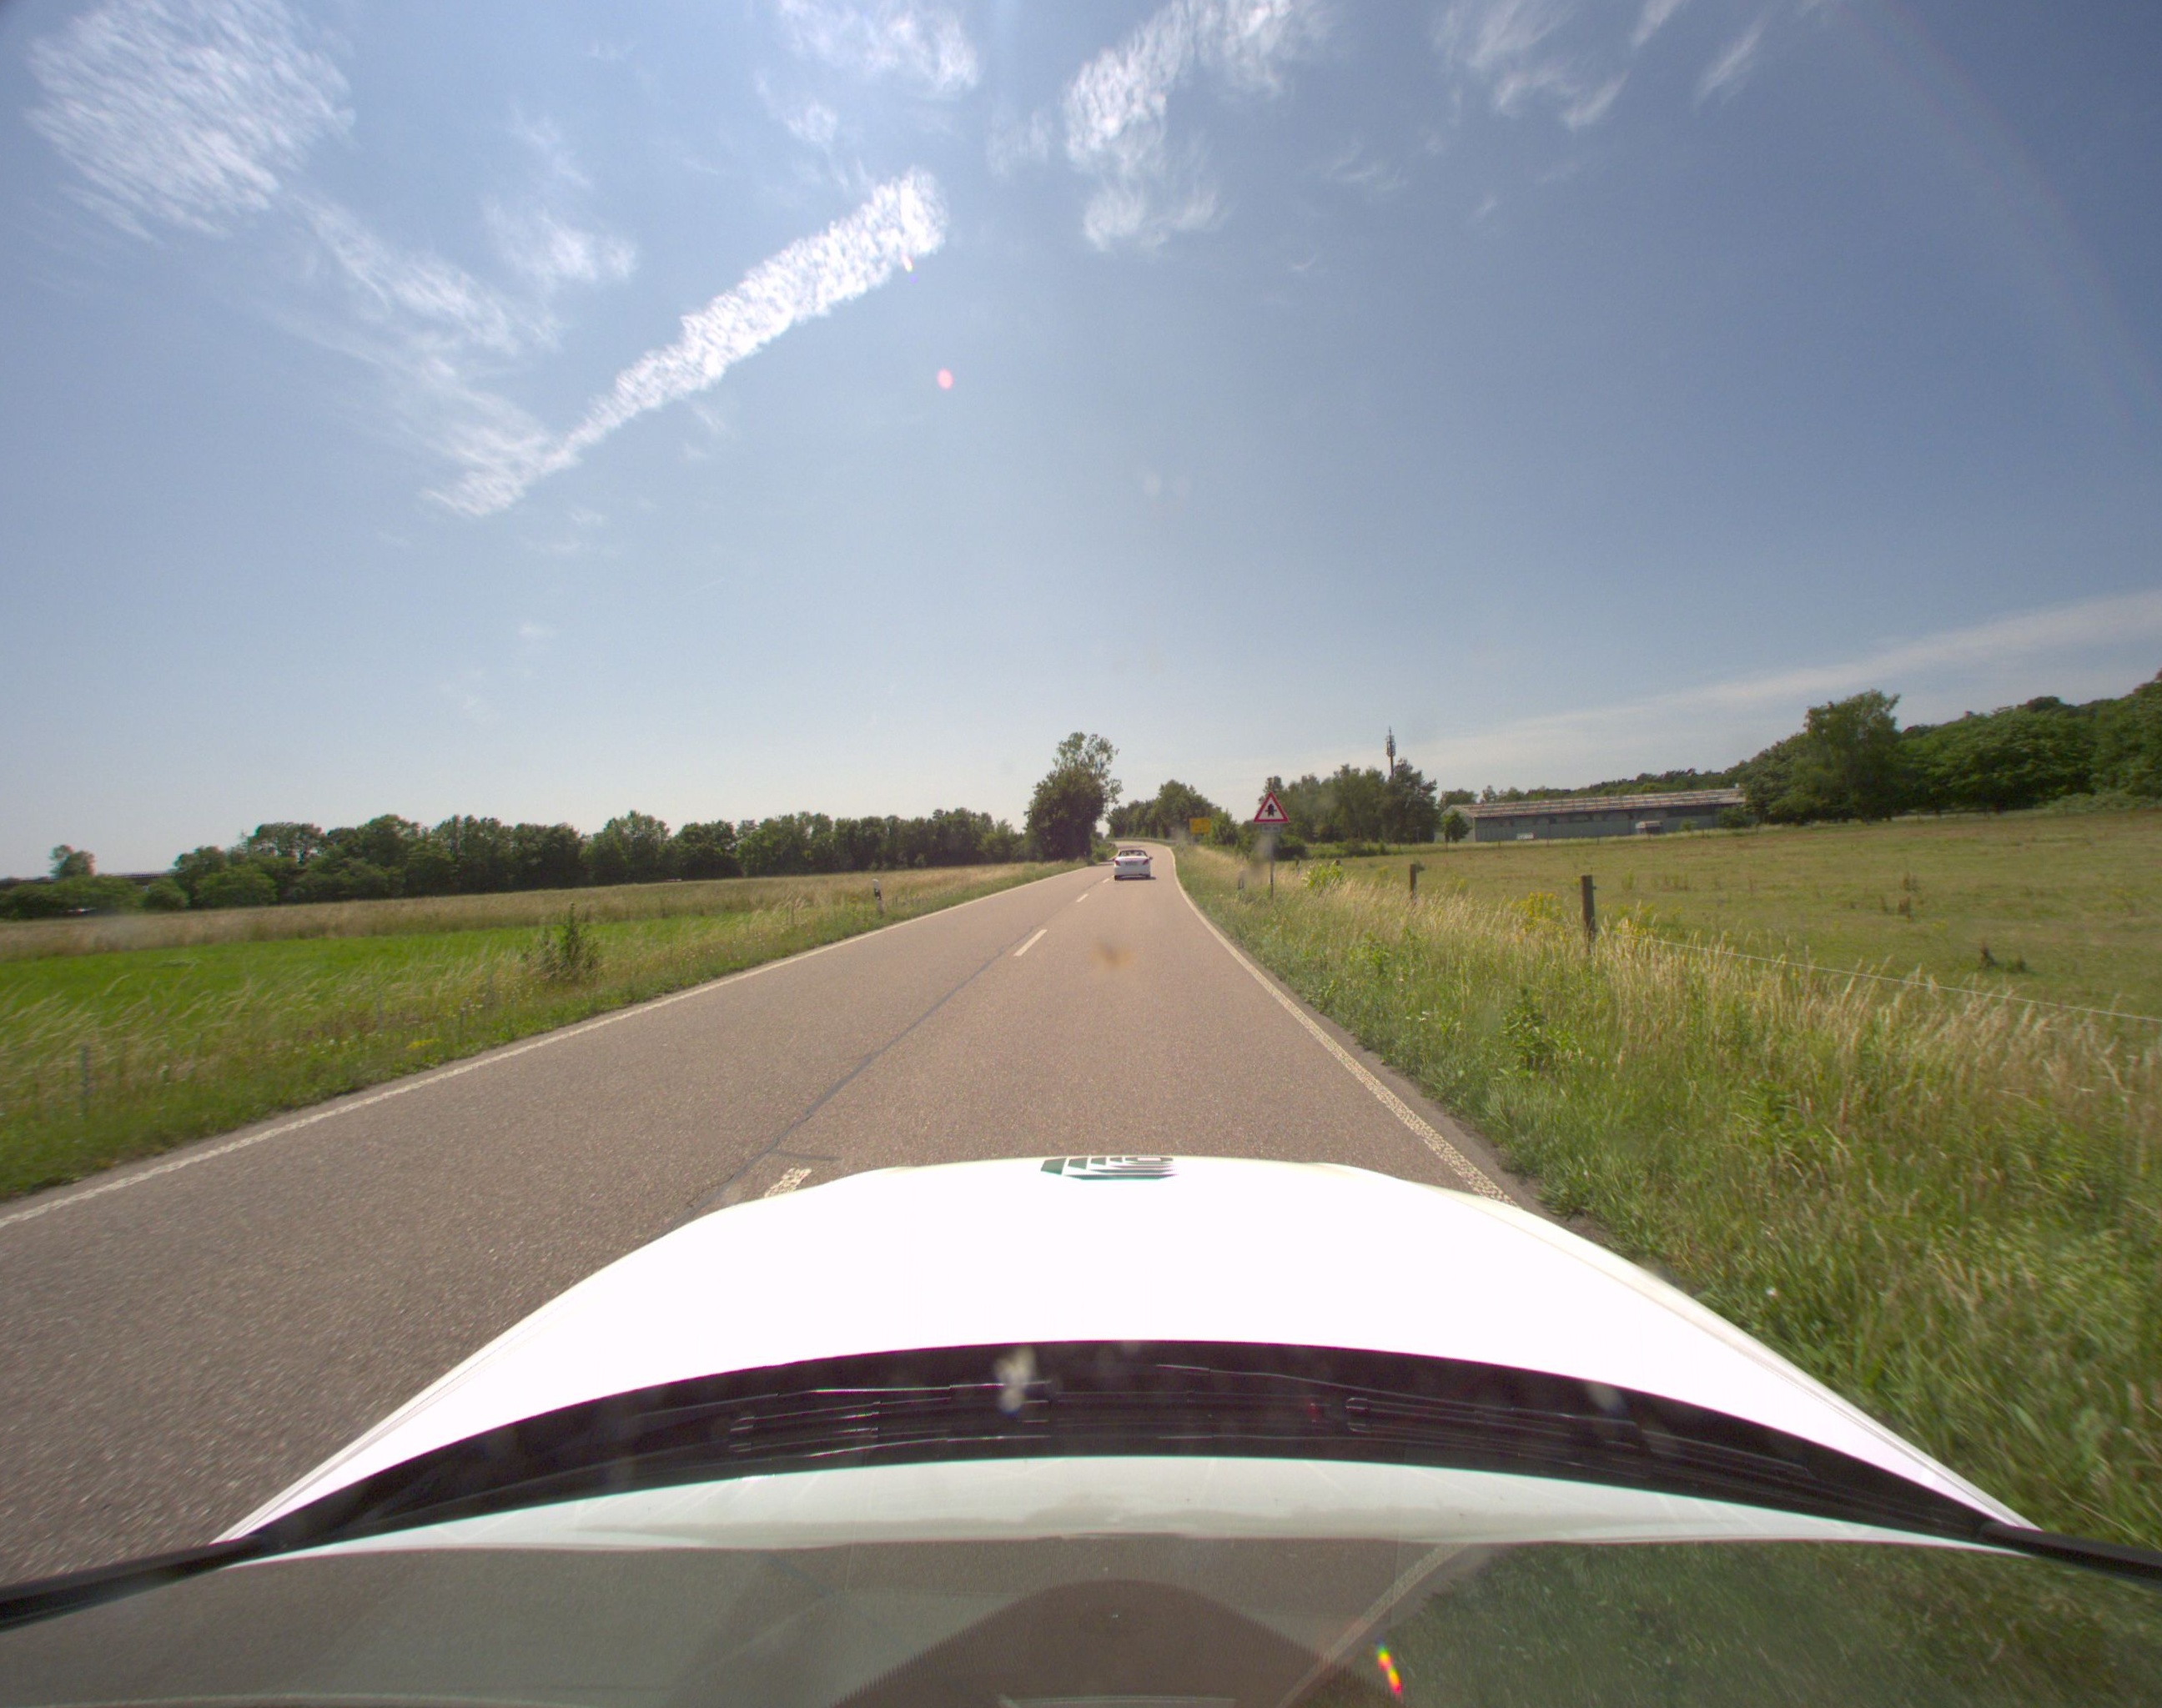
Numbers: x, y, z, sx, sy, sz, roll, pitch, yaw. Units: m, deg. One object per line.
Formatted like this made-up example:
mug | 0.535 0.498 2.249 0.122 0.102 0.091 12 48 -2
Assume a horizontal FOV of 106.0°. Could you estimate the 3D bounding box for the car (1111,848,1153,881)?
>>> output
car | 2.509 0.470 39.378 1.842 1.379 4.005 -3 1 4
